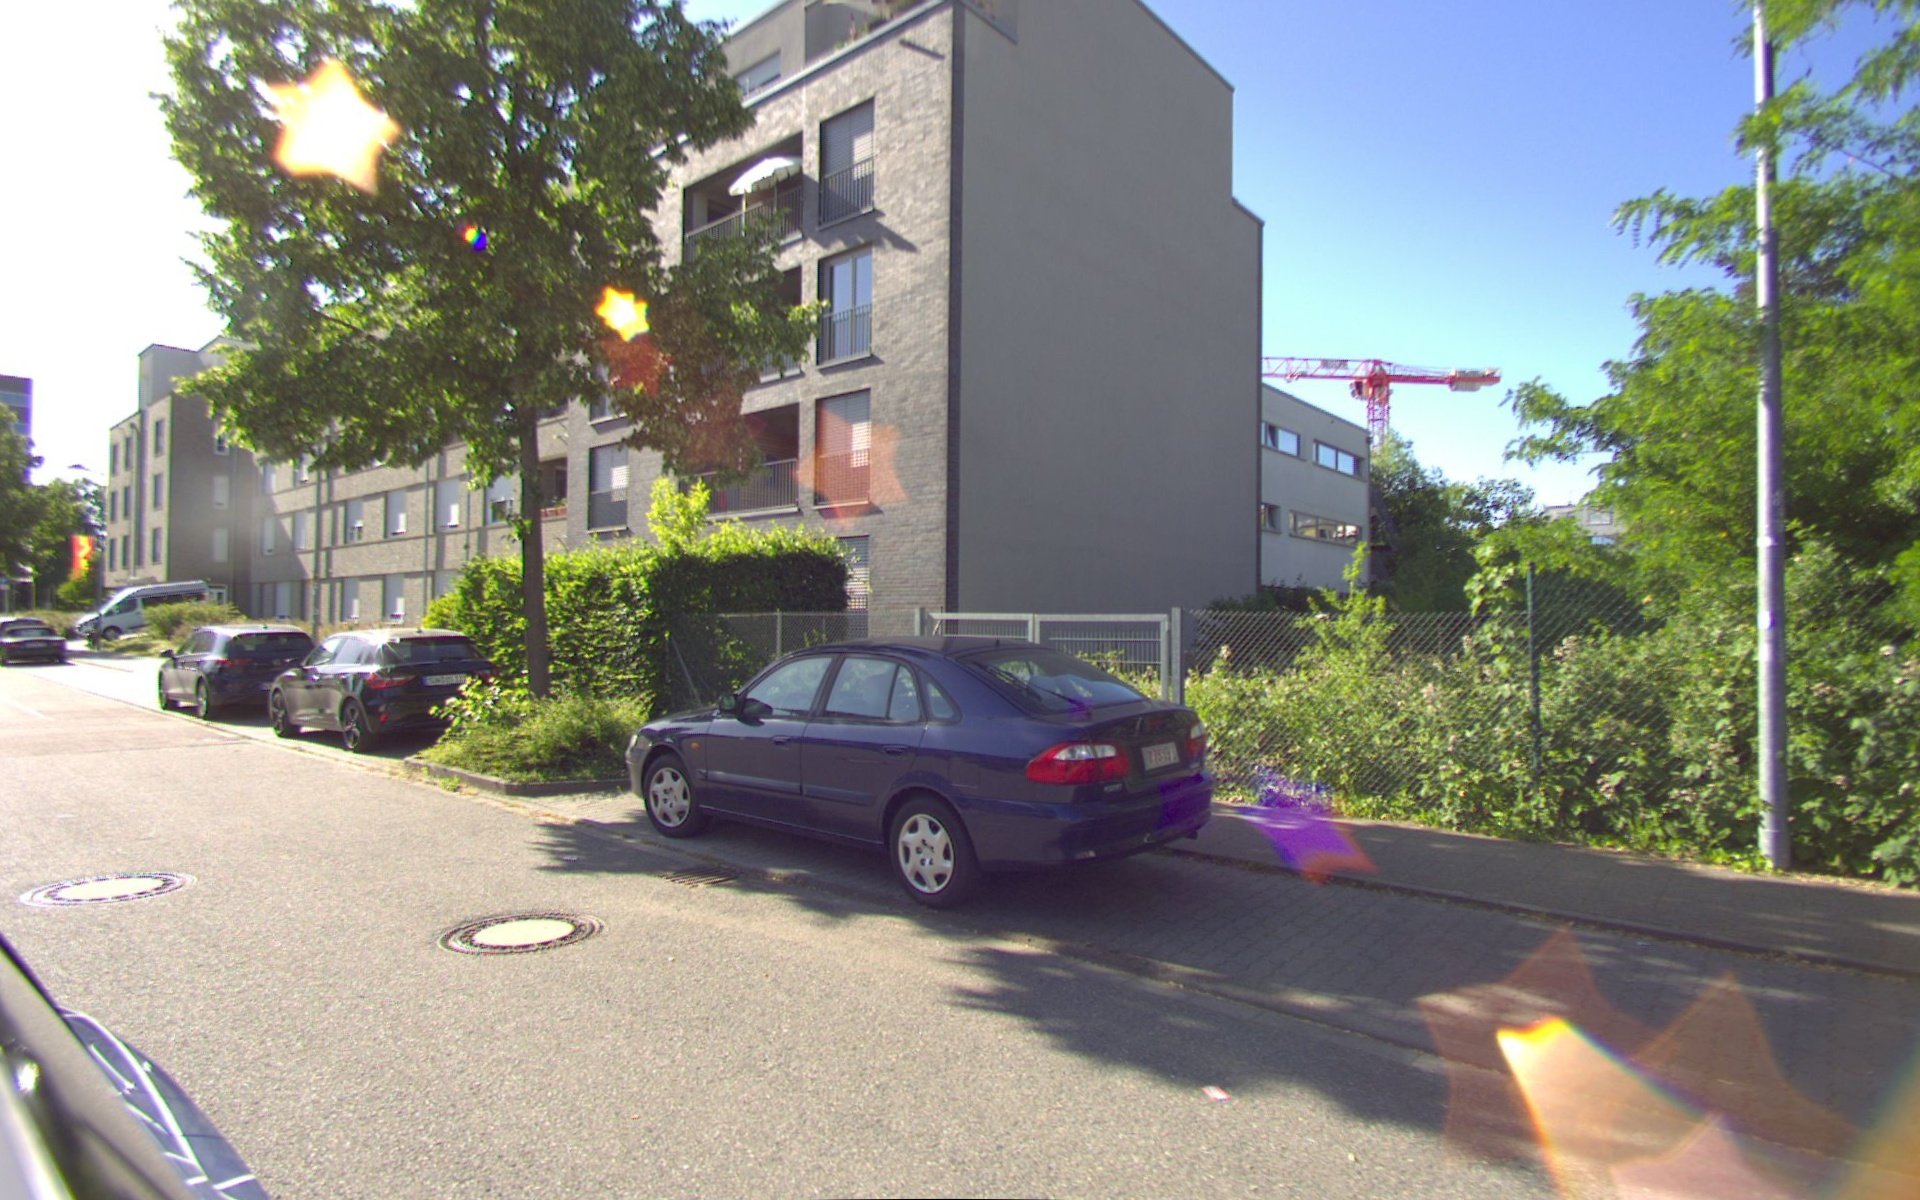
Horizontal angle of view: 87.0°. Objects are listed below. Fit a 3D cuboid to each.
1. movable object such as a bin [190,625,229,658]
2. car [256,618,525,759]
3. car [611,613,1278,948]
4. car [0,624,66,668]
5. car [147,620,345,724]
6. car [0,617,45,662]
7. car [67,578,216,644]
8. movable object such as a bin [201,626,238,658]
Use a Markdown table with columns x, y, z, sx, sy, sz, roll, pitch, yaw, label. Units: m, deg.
| x | y | z | sx | sy | sz | roll | pitch | yaw | label |
| --- | --- | --- | --- | --- | --- | --- | --- | --- | --- |
| -25.789 | 1.416 | 34.780 | 0.680 | 1.045 | 0.910 | -1 | 1 | 38 | movable object such as a bin |
| -7.521 | 1.015 | 13.218 | 4.025 | 1.485 | 1.821 | -1 | 0 | 41 | car |
| -0.343 | 0.853 | 6.757 | 4.357 | 1.485 | 1.821 | -1 | 0 | 41 | car |
| -30.190 | 1.454 | 32.632 | 3.561 | 1.257 | 1.610 | -1 | 1 | 42 | car |
| -12.192 | 1.112 | 17.187 | 4.097 | 1.485 | 1.821 | -1 | 0 | 41 | car |
| -34.127 | 1.385 | 36.192 | 3.560 | 1.536 | 1.610 | -1 | -2 | 40 | car |
| -38.534 | 0.552 | 47.791 | 2.011 | 2.924 | 5.091 | 0 | -2 | 37 | car |
| -25.154 | 1.419 | 34.372 | 0.677 | 1.045 | 0.852 | -1 | 1 | 38 | movable object such as a bin |
